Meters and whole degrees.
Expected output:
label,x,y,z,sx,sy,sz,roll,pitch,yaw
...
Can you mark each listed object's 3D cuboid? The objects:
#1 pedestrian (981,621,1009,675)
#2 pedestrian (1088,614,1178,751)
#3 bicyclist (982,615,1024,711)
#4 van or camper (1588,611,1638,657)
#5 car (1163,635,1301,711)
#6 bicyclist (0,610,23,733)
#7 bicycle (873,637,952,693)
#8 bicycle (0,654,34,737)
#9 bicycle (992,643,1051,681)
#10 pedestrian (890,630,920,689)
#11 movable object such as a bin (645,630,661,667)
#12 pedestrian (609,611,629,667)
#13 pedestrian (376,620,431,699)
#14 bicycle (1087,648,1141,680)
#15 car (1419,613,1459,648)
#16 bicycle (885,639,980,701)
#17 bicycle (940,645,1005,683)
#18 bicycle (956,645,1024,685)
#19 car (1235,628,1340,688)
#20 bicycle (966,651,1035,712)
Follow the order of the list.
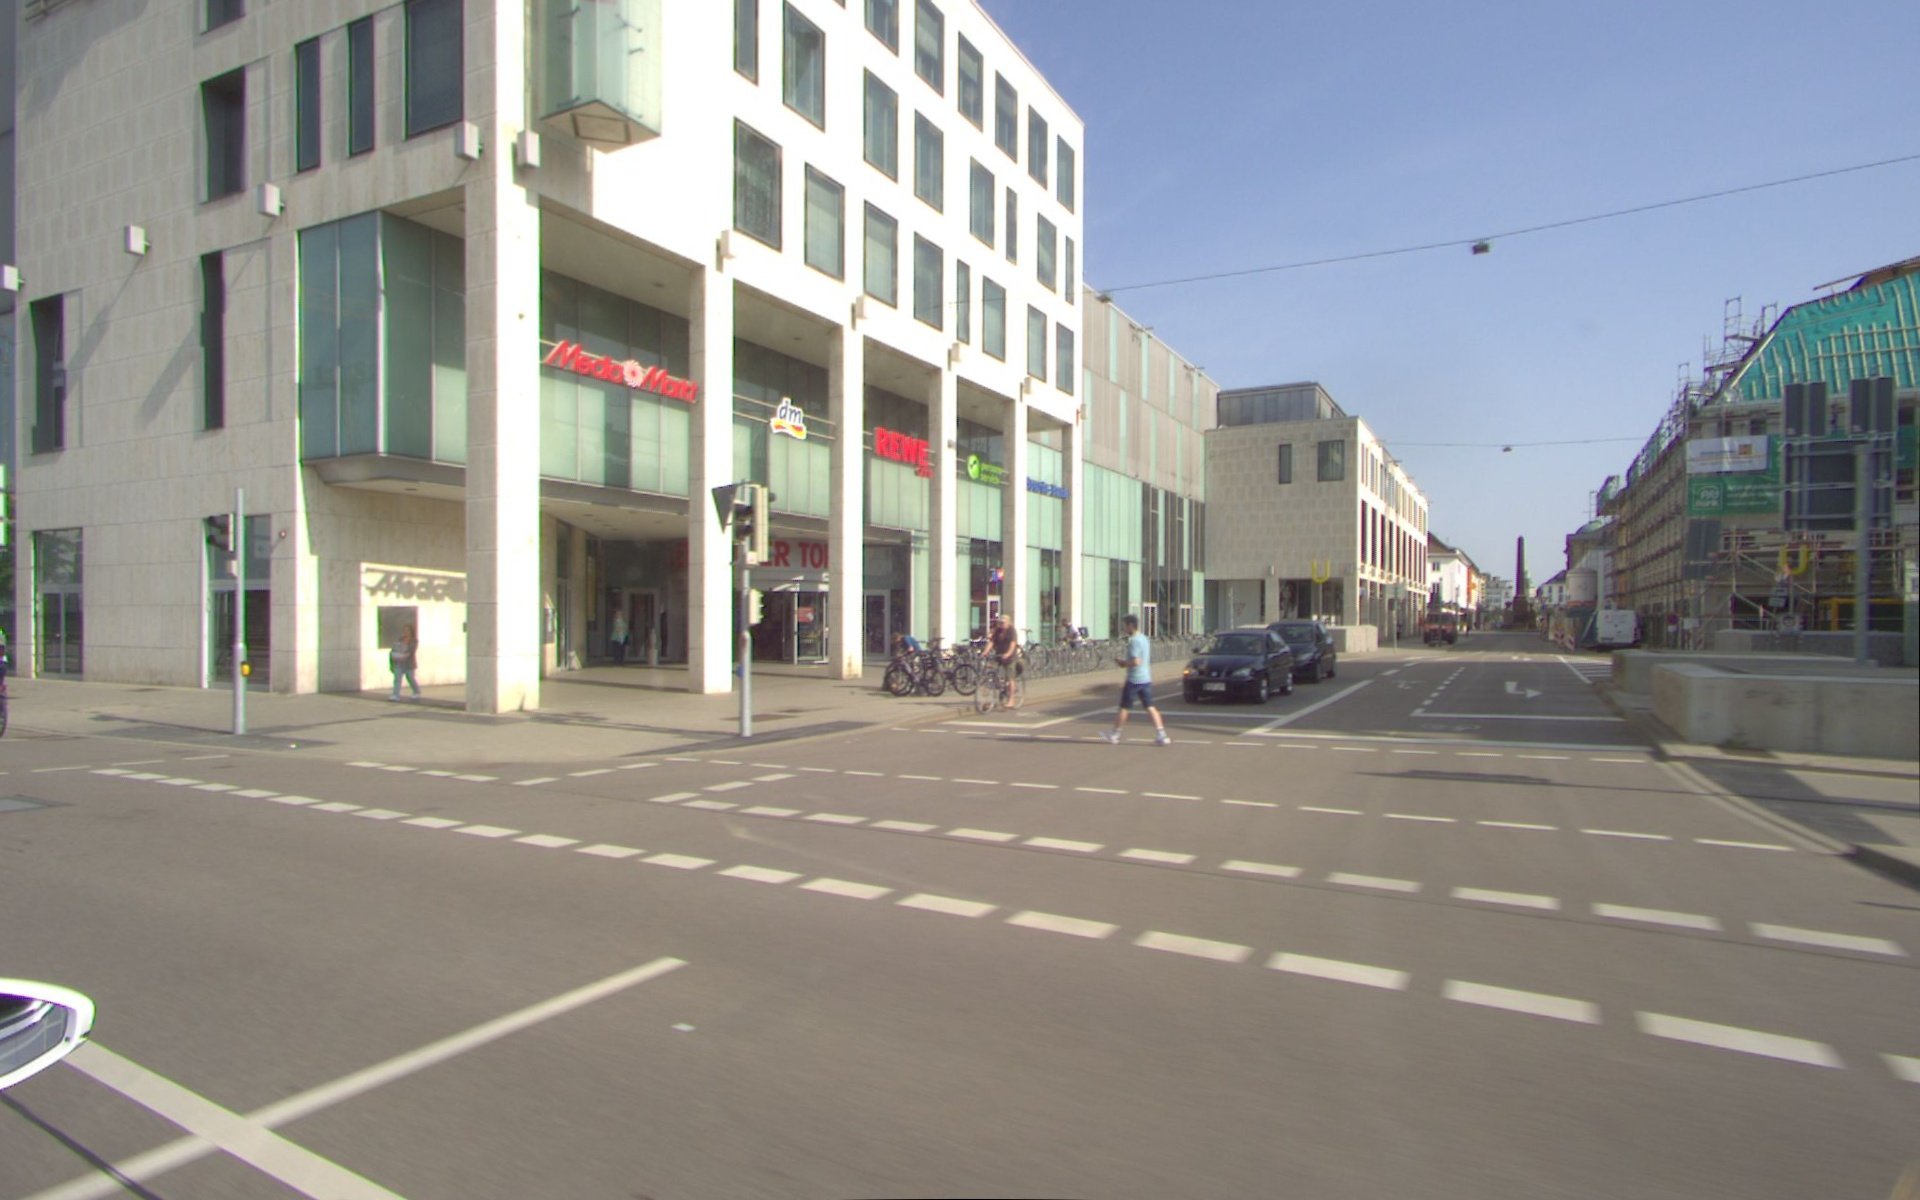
label,x,y,z,sx,sy,sz,roll,pitch,yaw
pedestrian,0.979,1.360,28.515,0.724,1.505,0.602,1,0,-4
pedestrian,2.291,1.053,13.262,0.976,1.733,0.641,0,0,35
bicyclist,0.808,1.172,18.834,0.573,1.760,0.634,1,0,27
van or camper,36.973,1.877,56.779,1.969,2.441,5.123,1,-1,29
car,5.784,1.453,20.978,1.849,1.384,3.888,-1,-2,30
bicyclist,-14.193,1.024,14.537,0.757,1.772,0.650,1,0,29
bicycle,-1.095,1.468,22.808,1.764,1.215,0.500,0,0,25
bicycle,-14.459,1.375,14.698,2.019,1.132,0.660,0,0,29
bicycle,1.685,1.707,27.672,1.647,0.969,0.457,0,-1,36
pedestrian,-1.300,1.388,23.551,0.538,1.374,0.512,0,0,20
movable object such as a bin,-9.359,1.465,30.513,0.350,1.113,0.292,1,0,29
pedestrian,-10.537,1.196,30.949,0.497,1.700,0.455,1,0,-8
pedestrian,-10.892,1.150,19.605,0.594,1.507,0.708,1,0,22
bicycle,5.090,2.103,33.086,1.688,0.969,0.458,0,-1,26
car,35.195,2.272,73.568,2.388,2.440,4.991,0,-3,29
bicycle,-0.619,1.502,21.850,2.038,1.253,0.612,0,-1,29
bicycle,0.336,1.723,27.149,1.831,0.969,0.457,0,-1,36
bicycle,0.769,1.685,26.206,1.831,0.969,0.457,0,-1,36
car,8.683,1.459,26.337,1.851,1.420,3.896,0,-1,31
bicycle,0.780,1.499,18.809,0.602,1.030,1.801,1,-1,26
